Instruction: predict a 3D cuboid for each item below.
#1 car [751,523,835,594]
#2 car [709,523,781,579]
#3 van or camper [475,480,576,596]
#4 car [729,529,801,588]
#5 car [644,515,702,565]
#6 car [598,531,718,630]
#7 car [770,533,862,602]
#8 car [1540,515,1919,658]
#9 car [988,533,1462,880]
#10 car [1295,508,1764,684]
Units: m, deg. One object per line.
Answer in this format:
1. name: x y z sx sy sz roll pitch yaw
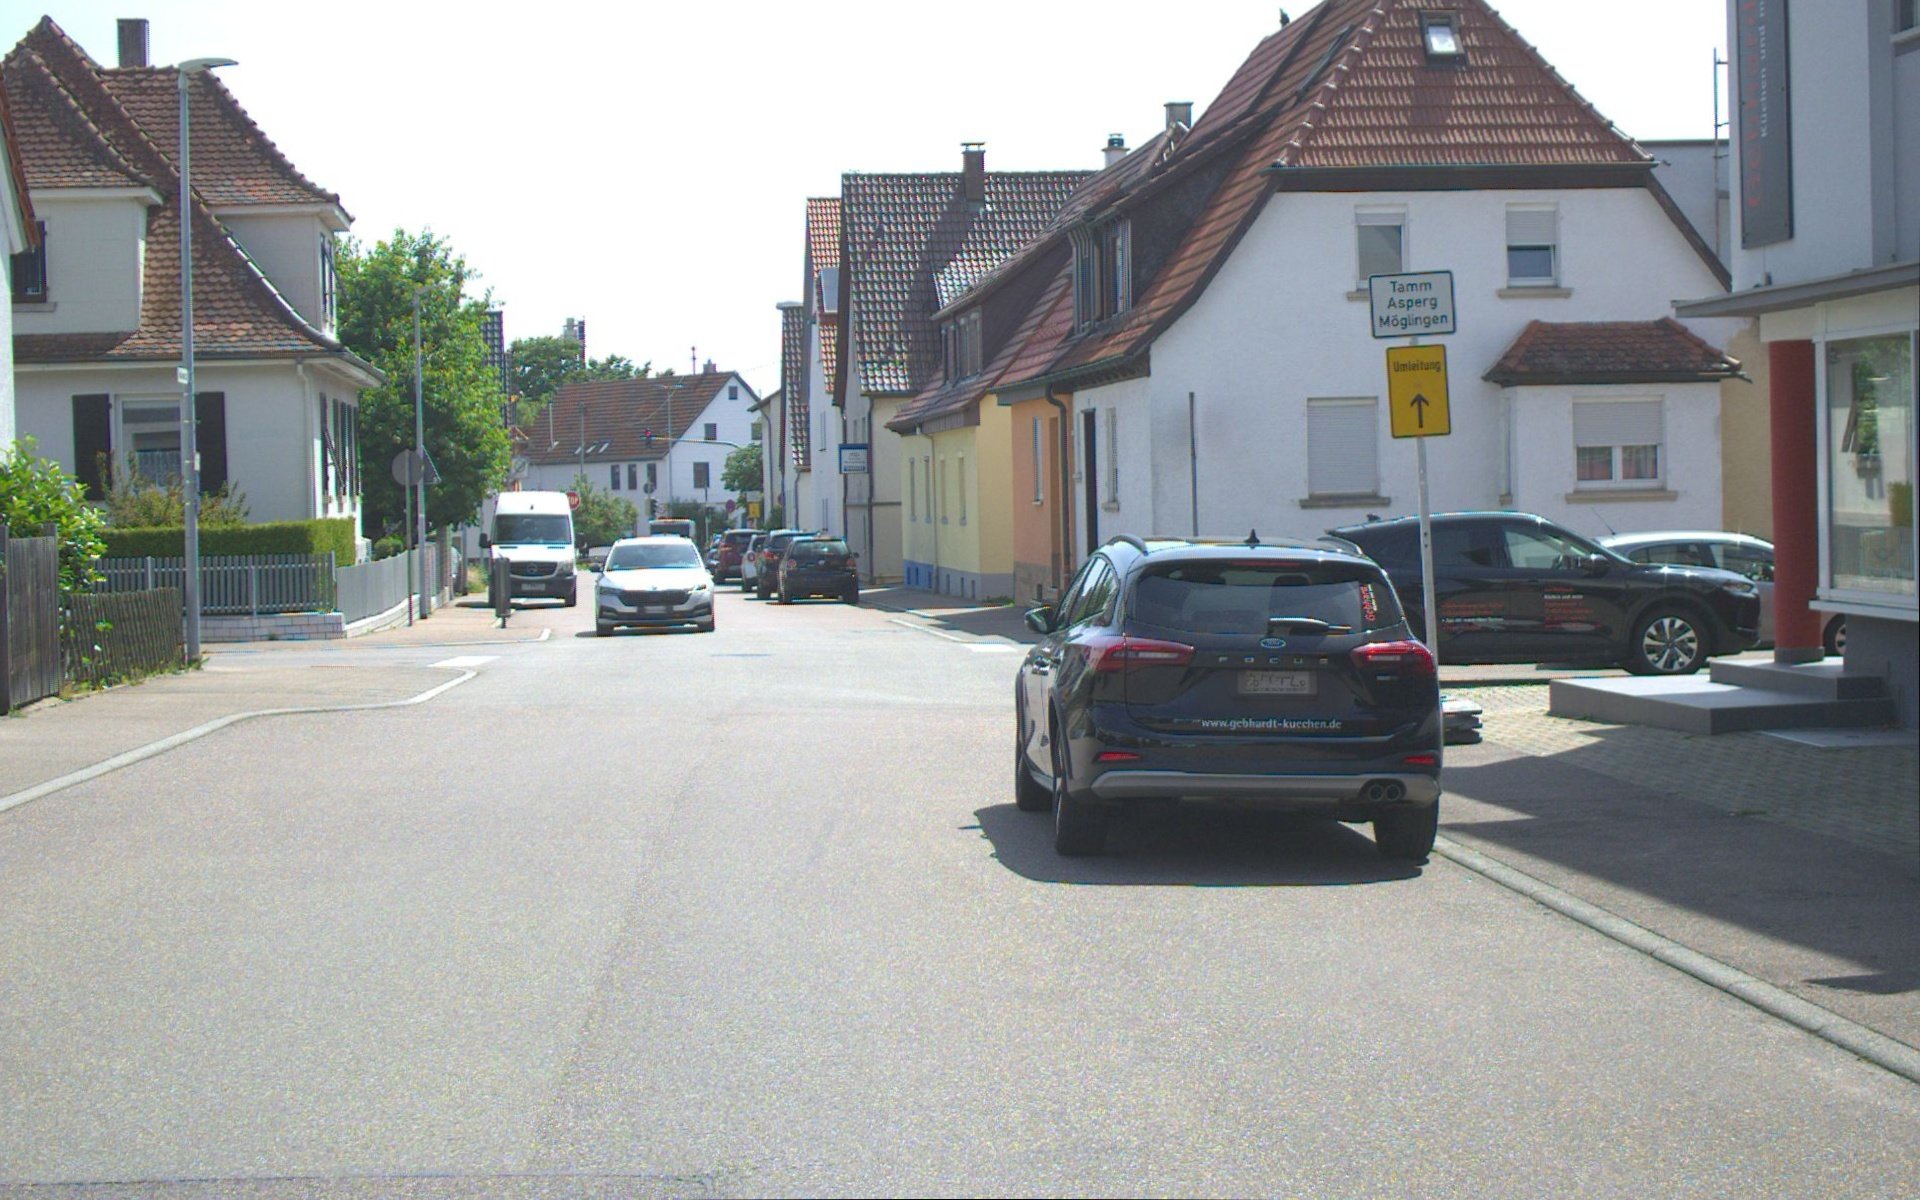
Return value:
1. car: -3.915 -0.977 80.017 1.728 1.594 4.254 0 1 -6
2. car: -6.708 -1.545 106.862 1.875 1.694 4.184 0 1 -8
3. van or camper: -9.960 -1.433 79.131 2.184 2.563 6.809 0 1 -7
4. car: -5.229 -1.129 91.887 1.673 1.553 3.041 0 1 -8
5. car: -12.654 -2.661 151.766 2.129 2.151 4.736 -1 1 0
6. car: -4.657 -0.339 52.959 1.753 1.433 4.589 0 1 -5
7. car: -3.137 -0.720 74.289 1.610 1.426 3.755 0 1 -8
8. car: 8.473 -0.163 37.499 3.987 1.499 1.694 0 1 0
9. car: 1.197 0.425 17.412 1.761 1.522 4.407 0 1 -4
10. car: 5.477 -0.056 33.457 4.294 1.647 1.848 0 1 2
